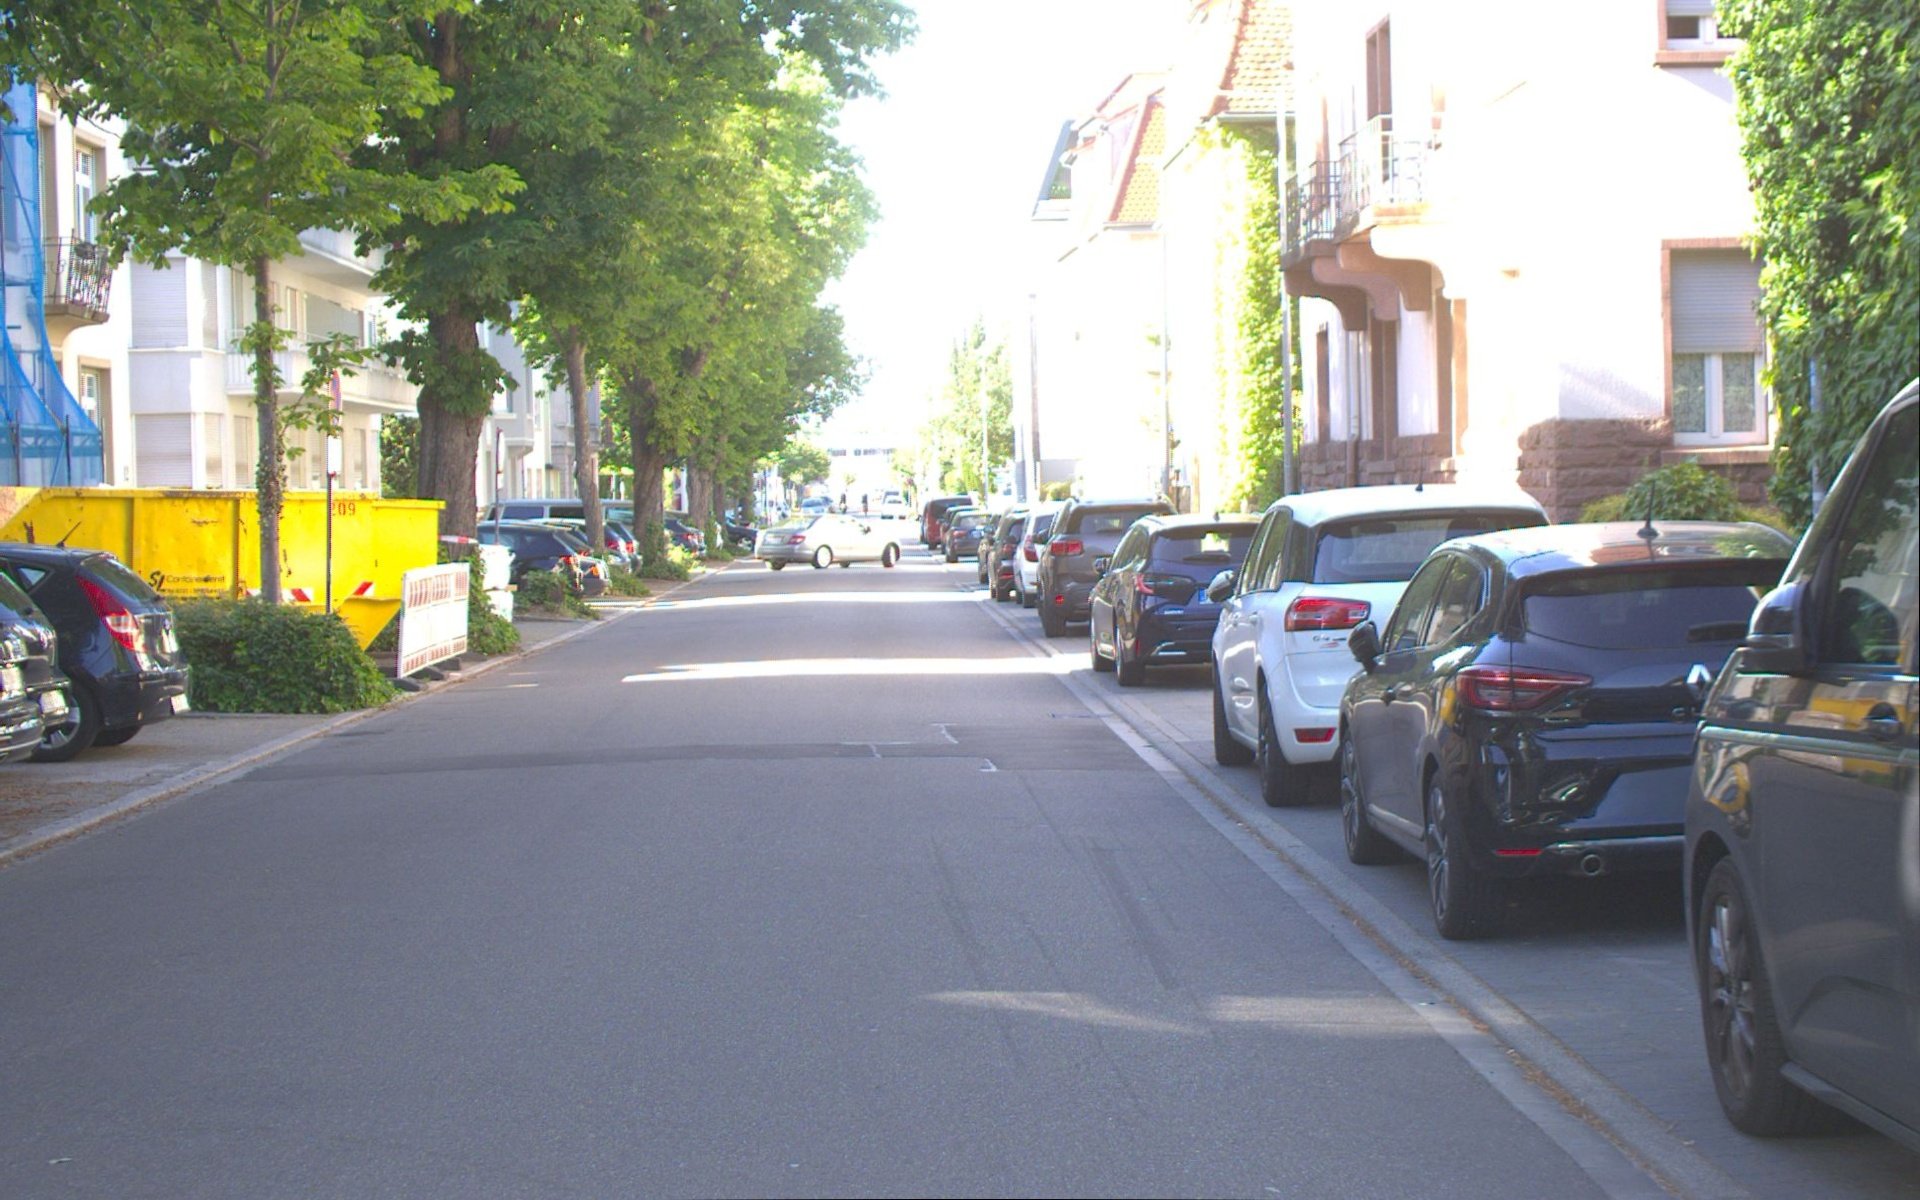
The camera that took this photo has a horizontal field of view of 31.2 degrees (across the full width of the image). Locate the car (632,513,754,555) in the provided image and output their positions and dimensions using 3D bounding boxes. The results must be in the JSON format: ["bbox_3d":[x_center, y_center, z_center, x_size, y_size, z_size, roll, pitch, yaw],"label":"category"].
[{"bbox_3d":[-9.535,-2.360,122.836,4.189,1.443,1.712,1,0,1],"label":"car"}]

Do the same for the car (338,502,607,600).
[{"bbox_3d":[-8.600,-0.880,60.522,4.588,1.601,1.834,-1,2,-10],"label":"car"}]

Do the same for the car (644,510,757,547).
[{"bbox_3d":[-10.400,-2.856,138.140,4.473,1.474,1.869,0,1,-3],"label":"car"}]

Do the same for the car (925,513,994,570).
[{"bbox_3d":[-0.028,-1.652,95.976,1.619,1.435,3.935,-4,2,-3],"label":"car"}]

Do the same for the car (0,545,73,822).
[{"bbox_3d":[-7.035,0.432,18.392,4.139,1.396,1.710,0,2,-1],"label":"car"}]

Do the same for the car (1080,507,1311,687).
[{"bbox_3d":[2.014,-0.087,30.452,1.643,1.449,4.503,-1,2,-1],"label":"car"}]

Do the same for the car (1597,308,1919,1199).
[{"bbox_3d":[2.745,0.369,6.802,1.852,1.902,4.852,-2,2,-2],"label":"car"}]

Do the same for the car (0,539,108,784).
[{"bbox_3d":[-7.346,0.413,21.177,3.747,1.426,1.646,-2,2,-1],"label":"car"}]

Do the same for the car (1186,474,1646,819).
[{"bbox_3d":[2.381,0.170,19.011,1.867,1.639,4.199,-2,2,-1],"label":"car"}]

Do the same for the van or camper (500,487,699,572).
[{"bbox_3d":[-8.456,-1.672,80.953,4.497,1.908,1.964,-1,1,-1],"label":"van or camper"}]

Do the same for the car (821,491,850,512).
[{"bbox_3d":[-9.350,-7.396,257.933,1.786,1.527,4.001,-1,2,-7],"label":"car"}]

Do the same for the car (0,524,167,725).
[{"bbox_3d":[-8.029,0.213,26.150,3.549,1.443,1.695,-2,2,0],"label":"car"}]

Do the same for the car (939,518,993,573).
[{"bbox_3d":[0.195,-1.985,125.250,1.871,1.898,5.198,-2,1,0],"label":"car"}]

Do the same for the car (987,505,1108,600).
[{"bbox_3d":[1.435,-0.793,57.736,1.709,1.431,4.193,-3,1,-2],"label":"car"}]

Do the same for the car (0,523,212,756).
[{"bbox_3d":[-7.189,0.296,23.480,3.726,1.459,1.715,-2,2,0],"label":"car"}]

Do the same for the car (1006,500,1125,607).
[{"bbox_3d":[1.606,-0.721,53.441,1.575,1.544,3.469,-2,1,-2],"label":"car"}]

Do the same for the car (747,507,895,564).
[{"bbox_3d":[-3.575,-1.660,89.064,1.730,1.415,3.952,1,1,37],"label":"car"}]

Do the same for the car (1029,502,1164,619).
[{"bbox_3d":[1.835,-0.539,46.883,1.625,1.544,2.870,0,1,-2],"label":"car"}]

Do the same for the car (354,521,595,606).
[{"bbox_3d":[-8.872,-0.675,63.048,4.187,1.436,1.713,-1,2,-2],"label":"car"}]

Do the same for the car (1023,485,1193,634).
[{"bbox_3d":[1.738,-0.488,41.697,1.778,1.690,4.320,1,1,-1],"label":"car"}]

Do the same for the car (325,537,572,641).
[{"bbox_3d":[-8.374,-0.200,56.185,3.869,1.509,1.834,-2,2,-10],"label":"car"}]

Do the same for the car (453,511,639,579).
[{"bbox_3d":[-9.033,-1.217,75.211,3.921,1.410,1.716,0,2,-3],"label":"car"}]

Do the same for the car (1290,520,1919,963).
[{"bbox_3d":[2.396,0.428,13.554,1.636,1.417,4.009,-2,2,-2],"label":"car"}]

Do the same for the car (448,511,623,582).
[{"bbox_3d":[-8.953,-1.135,72.756,3.478,1.453,1.798,0,1,0],"label":"car"}]
